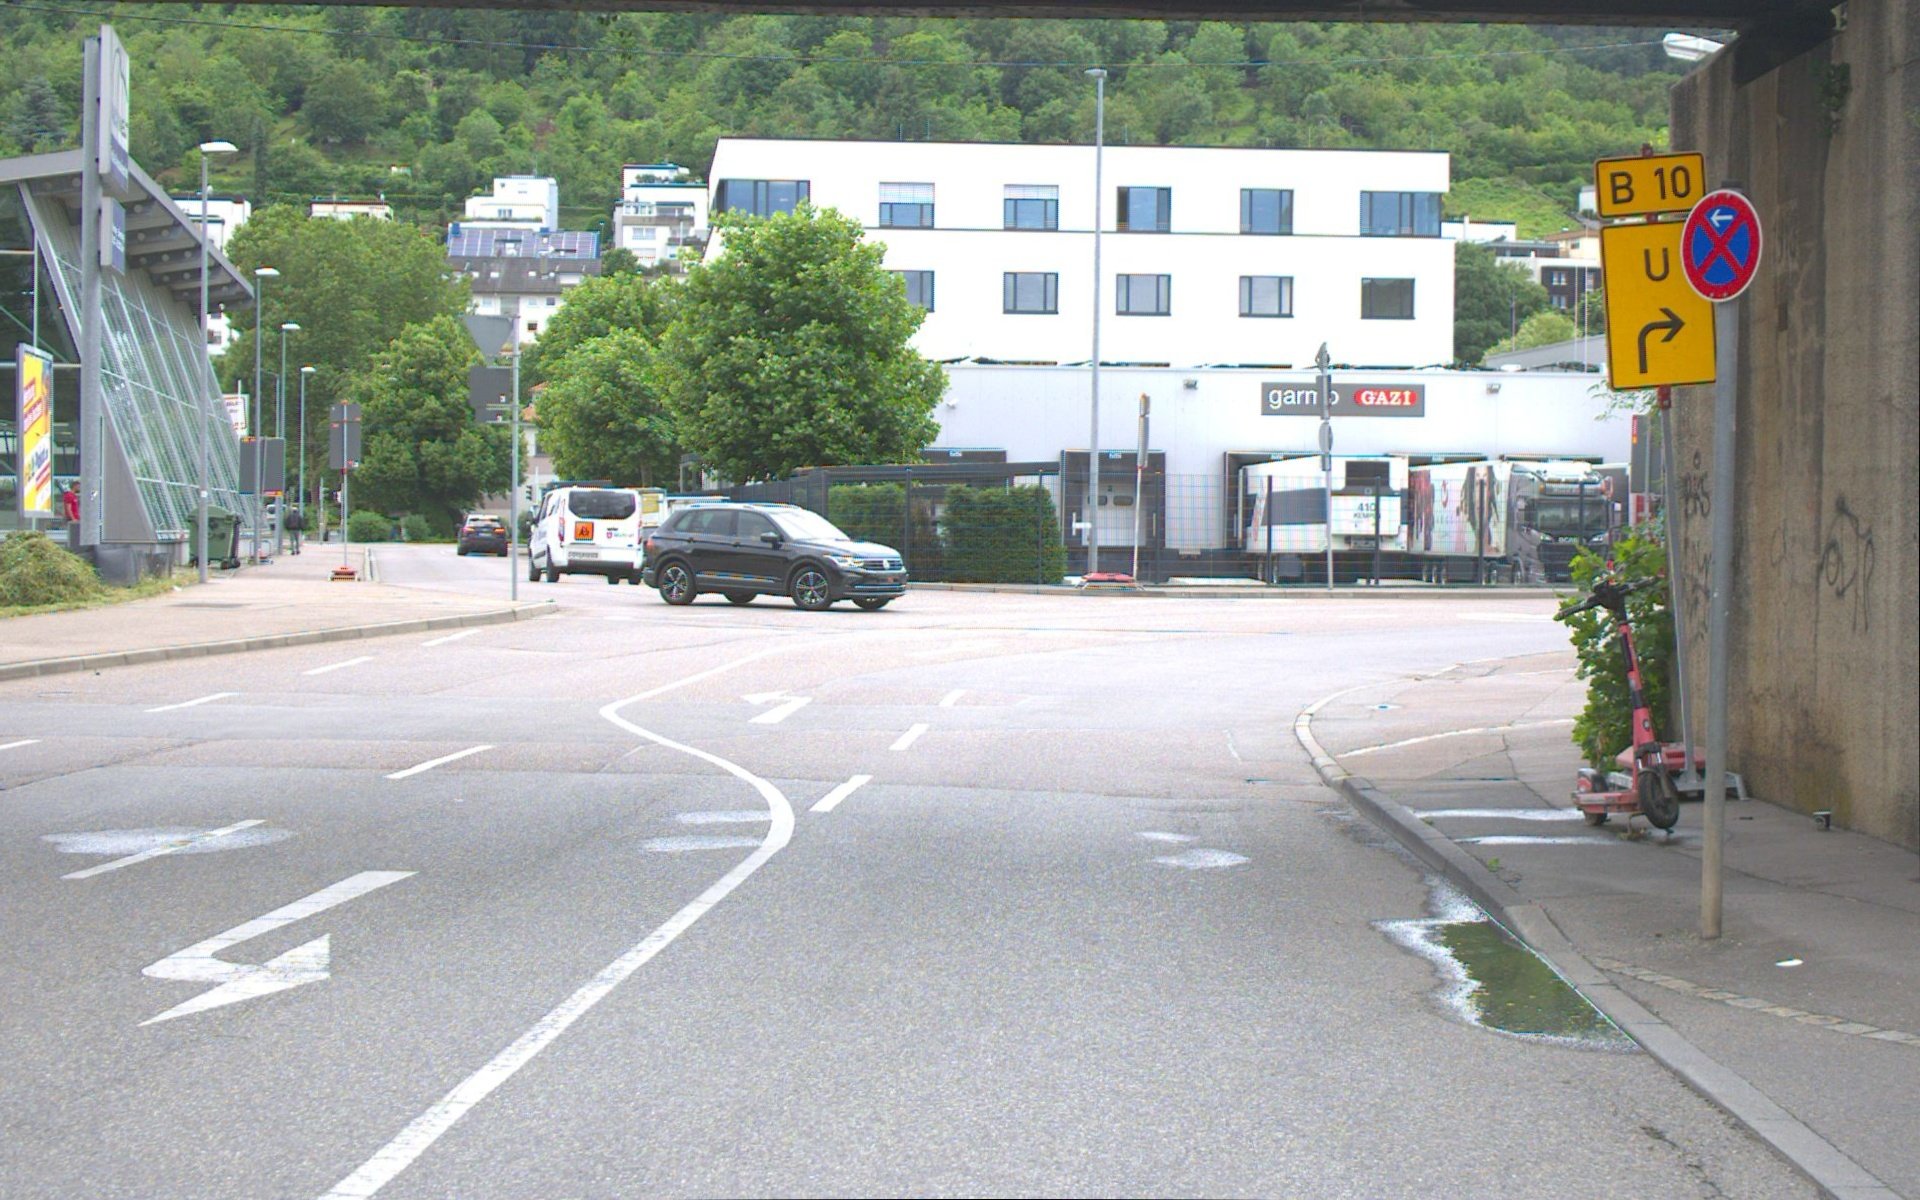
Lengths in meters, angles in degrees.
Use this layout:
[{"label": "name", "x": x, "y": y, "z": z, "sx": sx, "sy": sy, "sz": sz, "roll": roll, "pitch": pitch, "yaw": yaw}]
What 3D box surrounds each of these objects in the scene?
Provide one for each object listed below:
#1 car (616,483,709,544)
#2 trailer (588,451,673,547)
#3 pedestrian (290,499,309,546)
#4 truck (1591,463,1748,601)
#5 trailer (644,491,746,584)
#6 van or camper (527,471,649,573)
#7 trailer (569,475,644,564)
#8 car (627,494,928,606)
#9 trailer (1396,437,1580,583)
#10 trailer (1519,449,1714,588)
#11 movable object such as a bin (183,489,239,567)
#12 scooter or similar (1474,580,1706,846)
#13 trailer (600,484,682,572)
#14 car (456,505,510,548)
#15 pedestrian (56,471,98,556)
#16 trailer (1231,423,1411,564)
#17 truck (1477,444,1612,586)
[{"label": "car", "x": -7.792, "y": -2.272, "z": 89.815, "sx": 1.993, "sy": 1.503, "sz": 4.183, "roll": 1, "pitch": 2, "yaw": -10}, {"label": "trailer", "x": -13.462, "y": -4.135, "z": 140.144, "sx": 3.067, "sy": 3.746, "sz": 4.935, "roll": 1, "pitch": 2, "yaw": -9}, {"label": "pedestrian", "x": -23.619, "y": -2.776, "z": 122.974, "sx": 0.627, "sy": 1.667, "sz": 0.758, "roll": 1, "pitch": 1, "yaw": -12}, {"label": "truck", "x": 21.093, "y": -2.031, "z": 102.511, "sx": 2.792, "sy": 3.915, "sz": 5.927, "roll": 1, "pitch": 1, "yaw": -6}, {"label": "trailer", "x": -6.069, "y": -1.456, "z": 78.324, "sx": 1.993, "sy": 2.006, "sz": 4.001, "roll": 1, "pitch": 2, "yaw": -9}, {"label": "van or camper", "x": -7.967, "y": -1.650, "z": 73.381, "sx": 2.098, "sy": 2.076, "sz": 4.207, "roll": 1, "pitch": 1, "yaw": -13}, {"label": "trailer", "x": -12.124, "y": -2.771, "z": 117.775, "sx": 2.278, "sy": 2.943, "sz": 4.001, "roll": 1, "pitch": 2, "yaw": -9}, {"label": "car", "x": -2.894, "y": -0.801, "z": 54.344, "sx": 4.364, "sy": 1.678, "sz": 1.996, "roll": 1, "pitch": 1, "yaw": 31}, {"label": "trailer", "x": 16.445, "y": -2.789, "z": 107.977, "sx": 2.782, "sy": 4.286, "sz": 11.185, "roll": 1, "pitch": 1, "yaw": -6}, {"label": "trailer", "x": 20.486, "y": -2.550, "z": 108.030, "sx": 2.782, "sy": 4.063, "sz": 10.999, "roll": 1, "pitch": 1, "yaw": -6}, {"label": "movable object such as a bin", "x": -17.230, "y": -1.651, "z": 79.108, "sx": 1.142, "sy": 1.751, "sz": 1.059, "roll": 1, "pitch": 1, "yaw": -6}, {"label": "scooter or similar", "x": 3.162, "y": 0.539, "z": 17.400, "sx": 0.504, "sy": 1.232, "sz": 1.670, "roll": -3, "pitch": 2, "yaw": -12}, {"label": "trailer", "x": -8.933, "y": -2.037, "z": 95.928, "sx": 1.993, "sy": 2.335, "sz": 4.001, "roll": 1, "pitch": 2, "yaw": -9}, {"label": "car", "x": -18.978, "y": -2.911, "z": 136.974, "sx": 1.993, "sy": 1.678, "sz": 4.001, "roll": 1, "pitch": 1, "yaw": -6}, {"label": "pedestrian", "x": -19.474, "y": -1.908, "z": 75.798, "sx": 0.825, "sy": 1.861, "sz": 0.718, "roll": 0, "pitch": 2, "yaw": -20}, {"label": "trailer", "x": 11.053, "y": -3.257, "z": 106.731, "sx": 3.080, "sy": 4.063, "sz": 11.413, "roll": 1, "pitch": 1, "yaw": -6}, {"label": "truck", "x": 17.179, "y": -2.492, "z": 101.328, "sx": 2.792, "sy": 4.026, "sz": 4.166, "roll": 1, "pitch": 1, "yaw": -6}]
